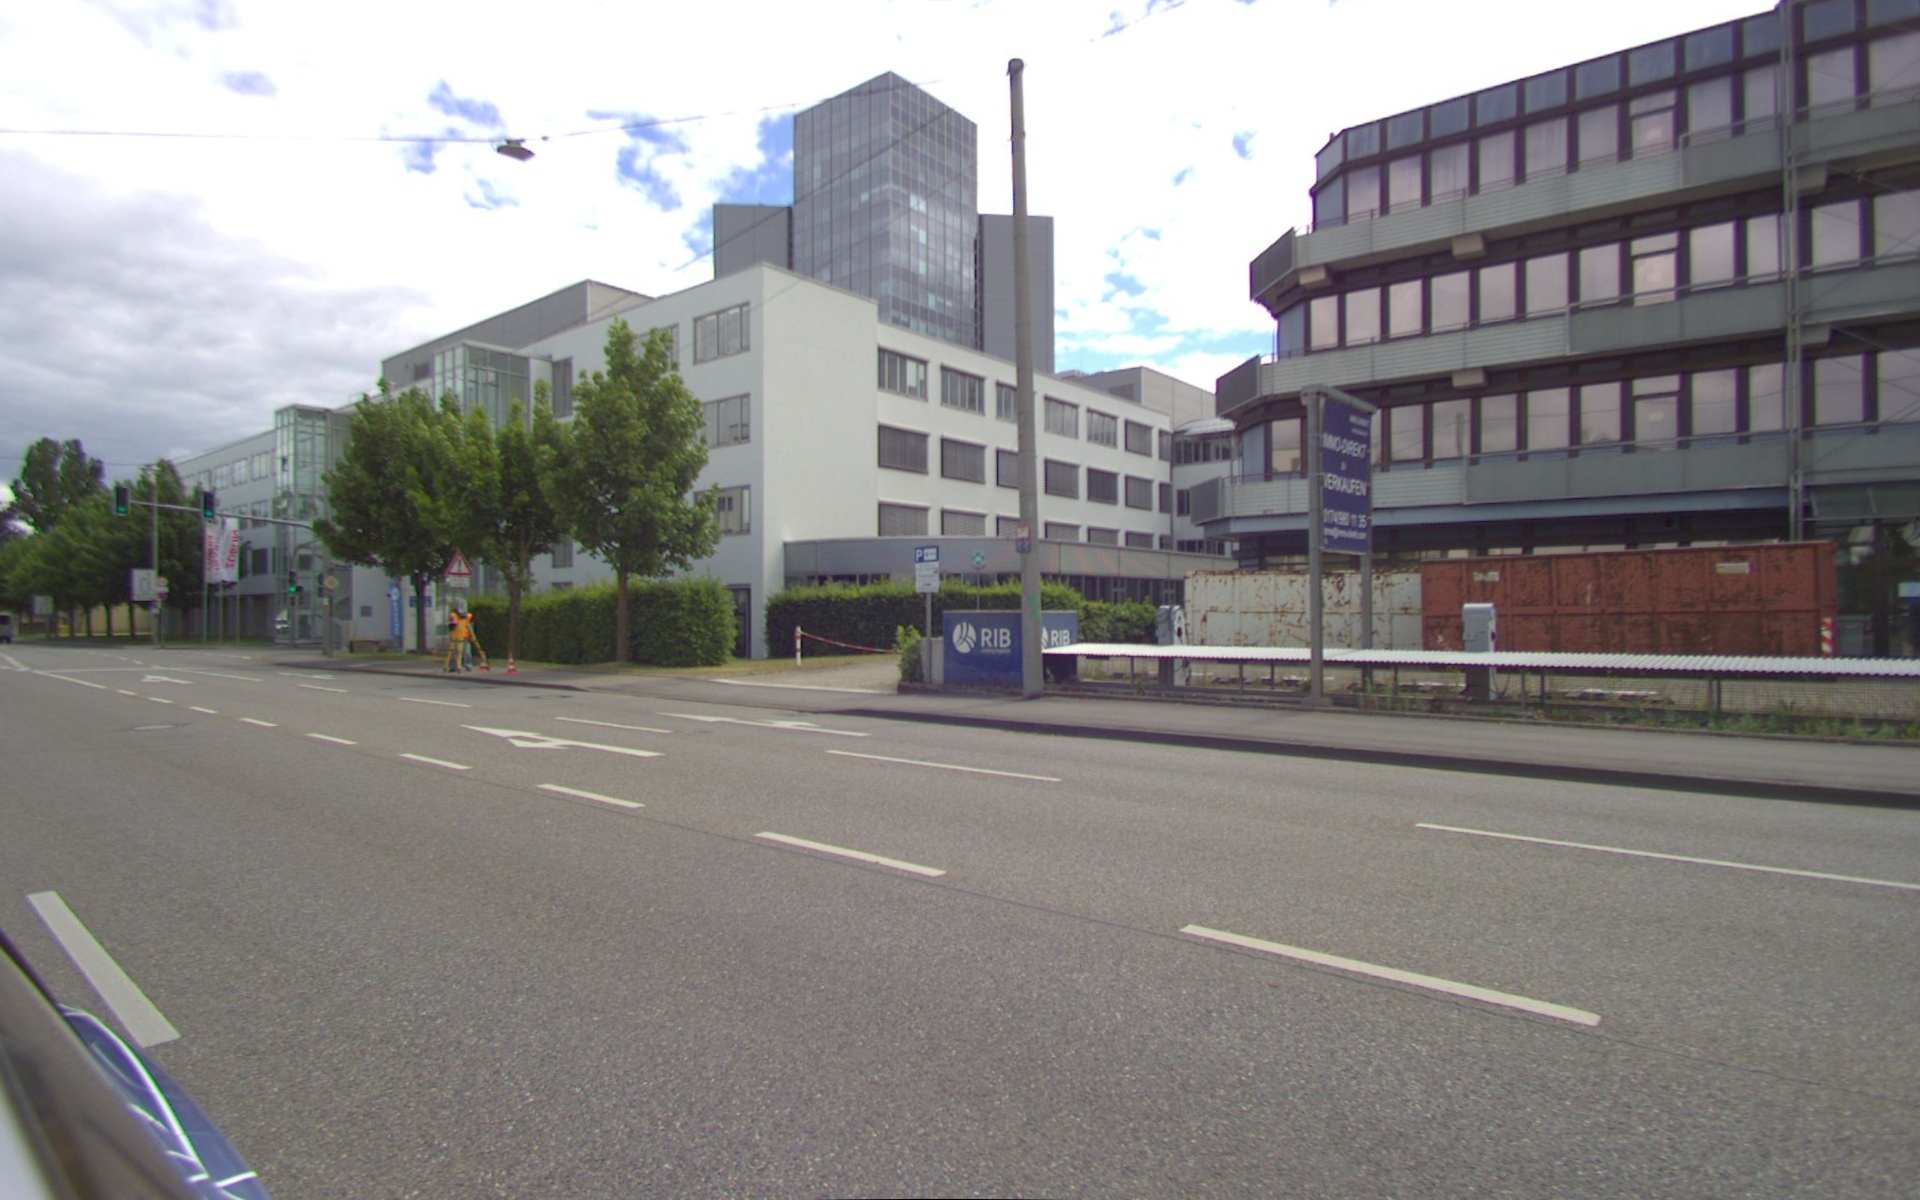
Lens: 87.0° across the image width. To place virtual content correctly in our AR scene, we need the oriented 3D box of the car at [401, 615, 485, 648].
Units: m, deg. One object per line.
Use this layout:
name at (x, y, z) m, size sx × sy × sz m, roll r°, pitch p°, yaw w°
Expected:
car at (-33.562, 2.066, 65.832) m, size 4.751 × 1.882 × 2.091 m, roll 3°, pitch -1°, yaw -26°

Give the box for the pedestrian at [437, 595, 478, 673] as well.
pedestrian at (-13.437, 0.881, 27.069) m, size 0.715 × 2.029 × 0.812 m, roll -1°, pitch 1°, yaw -7°

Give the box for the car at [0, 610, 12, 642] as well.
car at (-78.981, 2.083, 82.346) m, size 6.071 × 2.490 × 2.120 m, roll -1°, pitch -3°, yaw 42°
